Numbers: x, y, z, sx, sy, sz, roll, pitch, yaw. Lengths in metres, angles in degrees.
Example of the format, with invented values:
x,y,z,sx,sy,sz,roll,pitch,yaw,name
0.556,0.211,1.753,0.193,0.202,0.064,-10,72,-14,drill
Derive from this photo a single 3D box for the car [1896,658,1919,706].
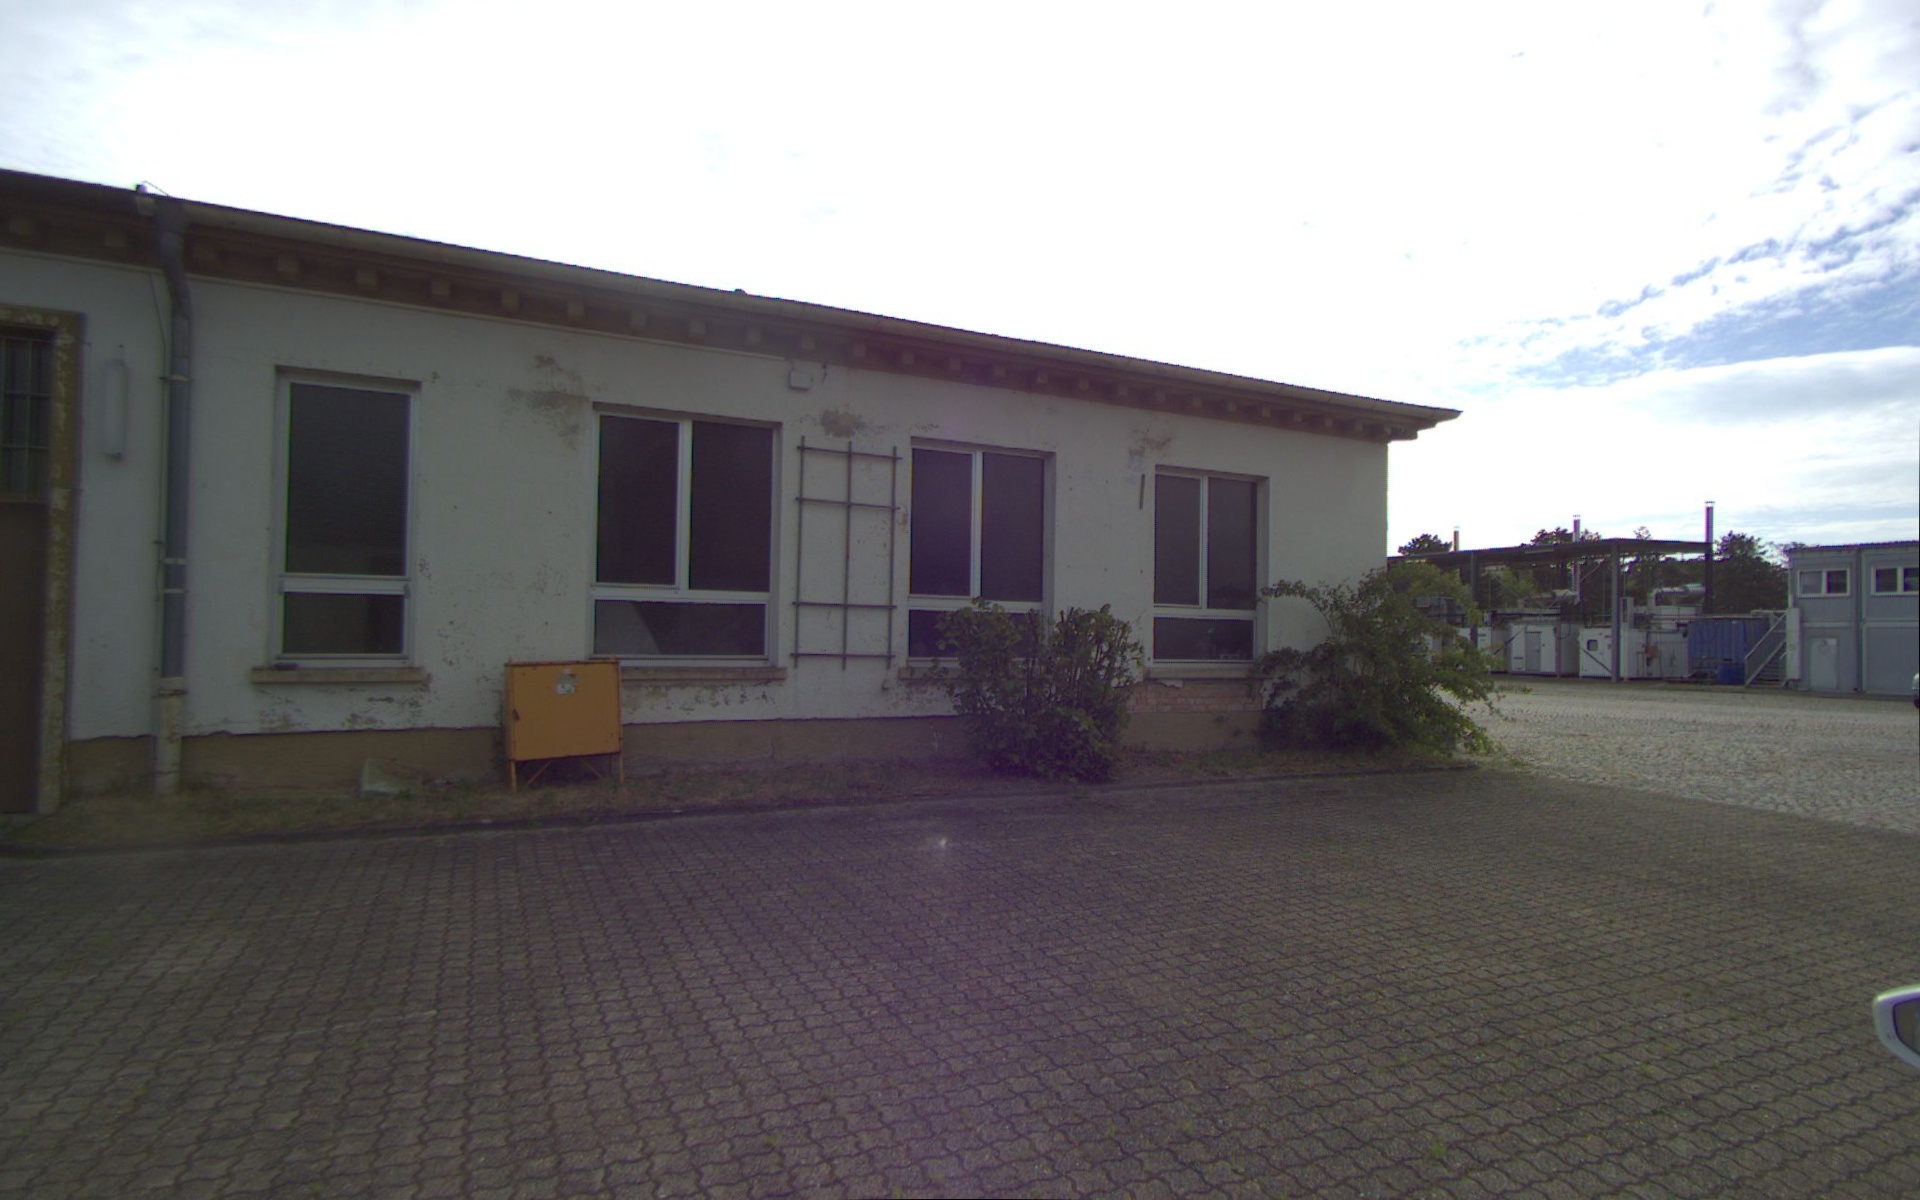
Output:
x,y,z,sx,sy,sz,roll,pitch,yaw,name
32.645,2.666,32.758,3.995,1.495,1.899,1,-2,-28,car
